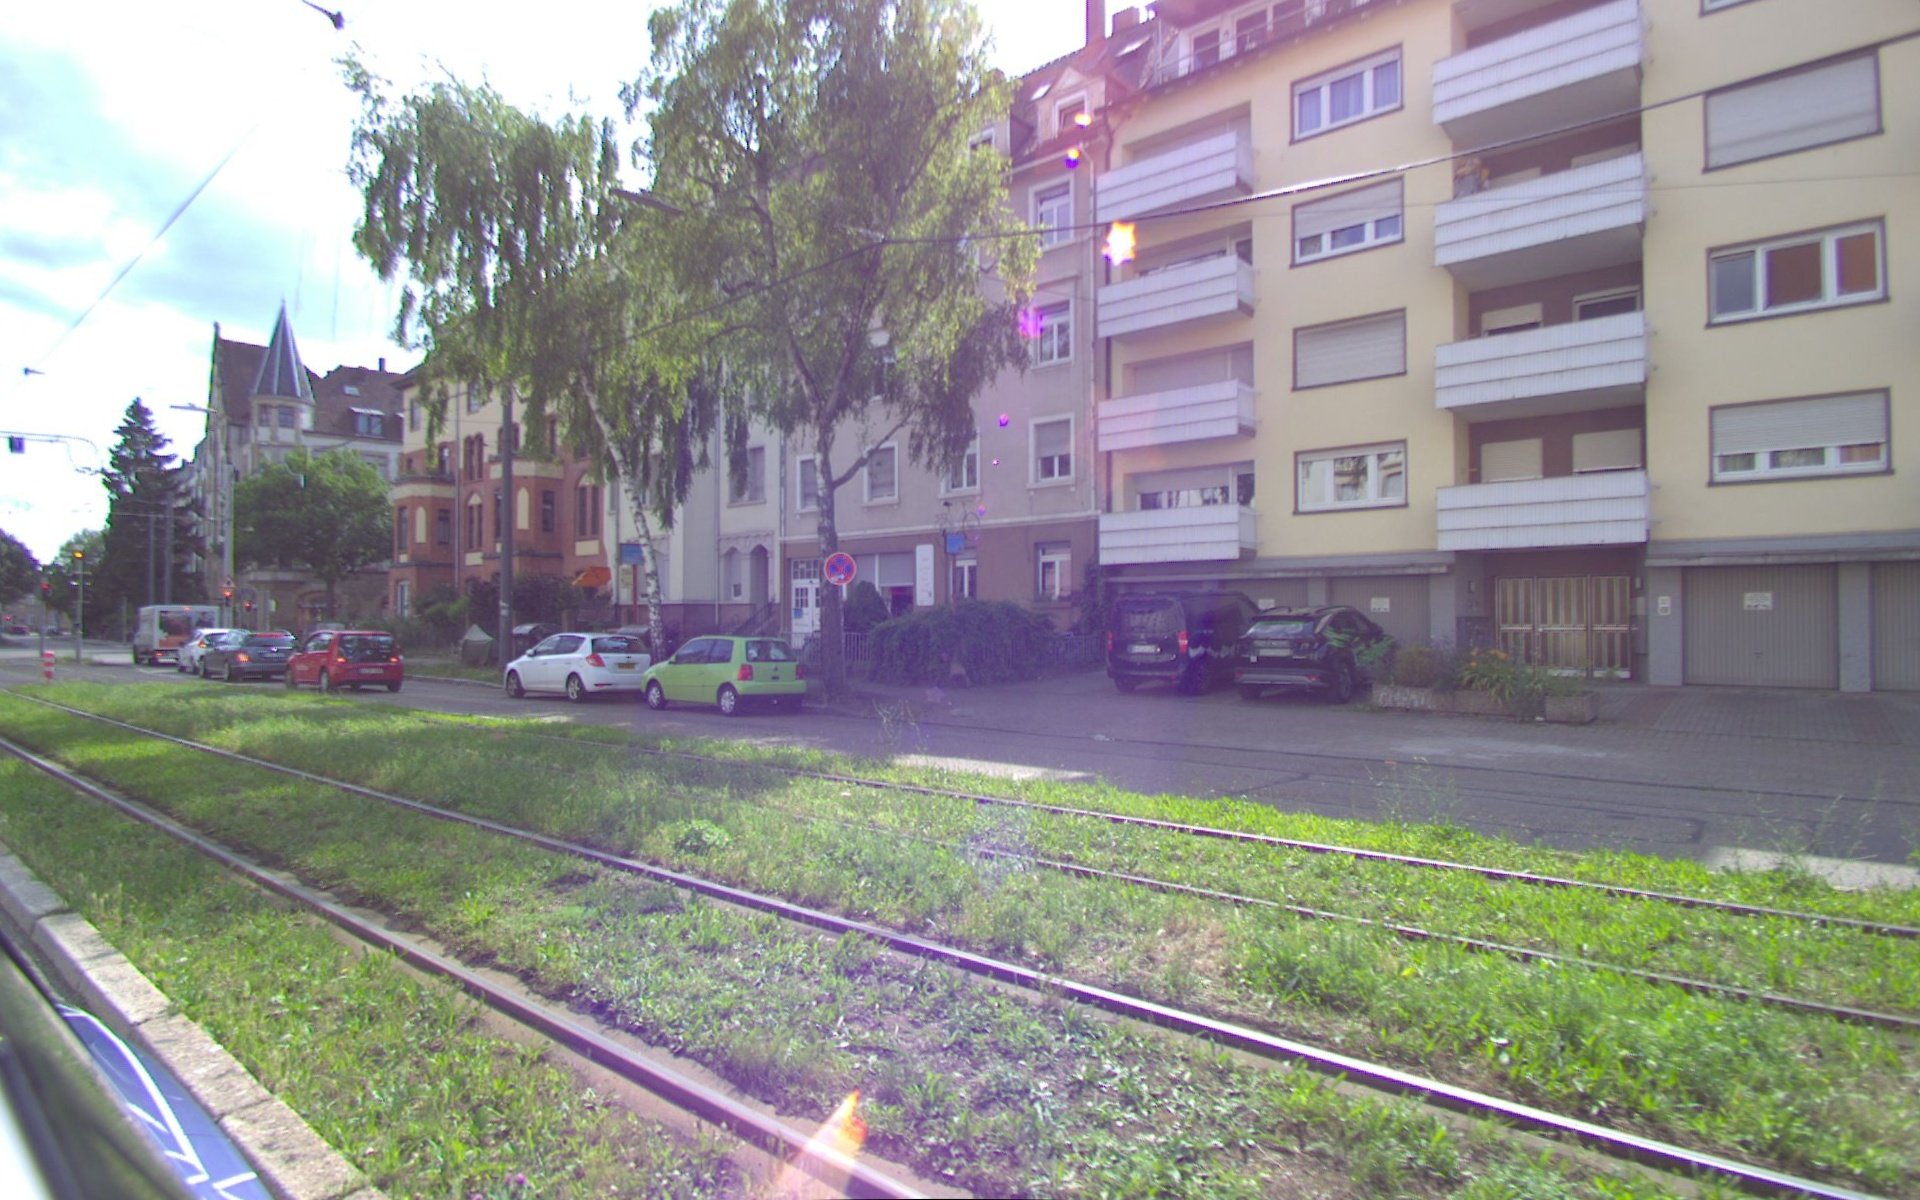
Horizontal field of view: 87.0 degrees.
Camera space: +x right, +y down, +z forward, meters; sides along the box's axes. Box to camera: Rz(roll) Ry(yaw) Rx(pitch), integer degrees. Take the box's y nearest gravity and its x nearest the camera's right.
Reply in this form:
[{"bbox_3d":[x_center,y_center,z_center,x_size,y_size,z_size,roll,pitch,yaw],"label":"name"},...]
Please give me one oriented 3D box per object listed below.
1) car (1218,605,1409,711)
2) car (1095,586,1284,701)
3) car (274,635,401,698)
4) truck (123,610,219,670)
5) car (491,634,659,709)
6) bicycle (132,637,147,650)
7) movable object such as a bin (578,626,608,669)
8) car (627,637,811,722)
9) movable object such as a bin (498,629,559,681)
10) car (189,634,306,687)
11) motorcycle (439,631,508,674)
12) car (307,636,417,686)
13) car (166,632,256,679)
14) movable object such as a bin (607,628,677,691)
[{"bbox_3d":[6.477,0.957,18.316,1.971,1.614,3.946,-2,0,40],"label":"car"},{"bbox_3d":[4.689,0.788,20.371,1.937,2.029,3.943,-2,0,43],"label":"car"},{"bbox_3d":[-14.975,1.534,24.286,3.691,1.397,1.562,-2,-3,41],"label":"car"},{"bbox_3d":[-31.531,1.585,40.340,6.615,2.231,2.160,-2,-3,45],"label":"truck"},{"bbox_3d":[-8.506,1.509,22.218,4.223,1.489,1.627,-2,-4,41],"label":"car"},{"bbox_3d":[-63.426,3.340,78.202,2.336,0.979,0.616,-2,-2,44],"label":"bicycle"},{"bbox_3d":[-11.894,1.536,32.801,0.698,1.372,0.666,-2,-2,37],"label":"movable object such as a bin"},{"bbox_3d":[-4.591,1.430,19.082,3.613,1.443,1.577,-2,-3,41],"label":"car"},{"bbox_3d":[-12.457,1.575,29.200,1.520,1.377,0.941,-2,3,40],"label":"movable object such as a bin"},{"bbox_3d":[-20.426,1.690,28.929,4.511,1.366,1.736,-1,-4,42],"label":"car"},{"bbox_3d":[-14.828,1.587,30.828,2.289,1.252,0.893,-2,-2,35],"label":"motorcycle"},{"bbox_3d":[-17.999,1.790,30.391,3.994,1.366,1.736,-2,-2,42],"label":"car"},{"bbox_3d":[-24.724,1.808,33.342,4.135,1.425,1.735,-1,-4,45],"label":"car"},{"bbox_3d":[-7.778,1.440,24.744,1.520,1.440,0.941,-2,0,40],"label":"movable object such as a bin"}]
